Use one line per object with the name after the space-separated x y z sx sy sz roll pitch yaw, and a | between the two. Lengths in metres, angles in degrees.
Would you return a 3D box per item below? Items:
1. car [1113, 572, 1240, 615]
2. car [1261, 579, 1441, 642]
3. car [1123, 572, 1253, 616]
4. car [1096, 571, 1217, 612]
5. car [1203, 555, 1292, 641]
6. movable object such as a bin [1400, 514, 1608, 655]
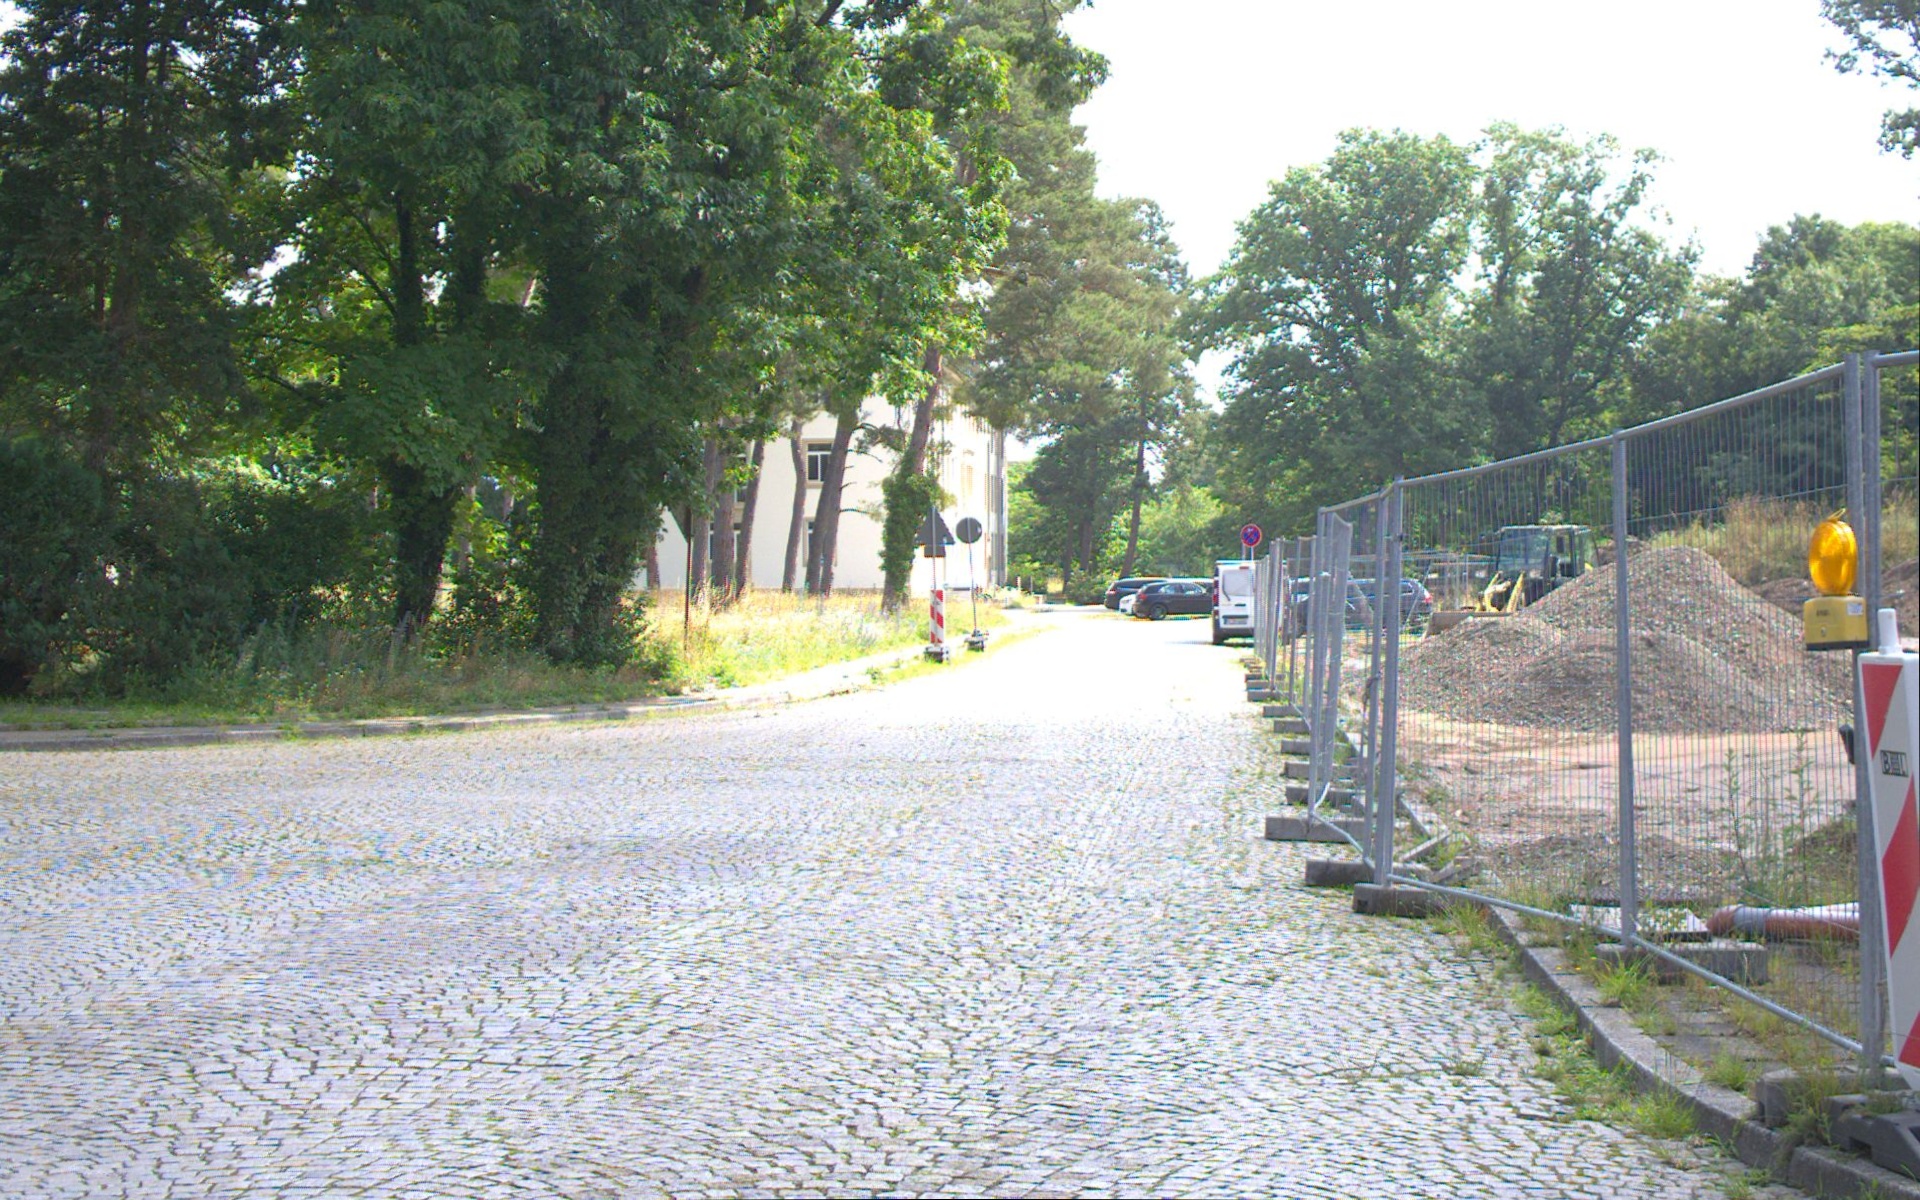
8.443 -0.264 134.150 4.779 1.635 2.000 0 0 -1 | car
10.076 0.255 88.502 4.405 1.505 1.999 1 0 12 | car
8.687 -0.231 131.022 4.779 1.635 2.000 0 0 -1 | car
8.014 -0.335 140.548 4.779 1.635 2.000 0 0 -1 | car
6.913 -0.055 83.001 1.994 2.007 4.091 0 0 3 | car
10.367 -0.305 65.238 2.132 2.584 4.782 0 1 33 | movable object such as a bin
